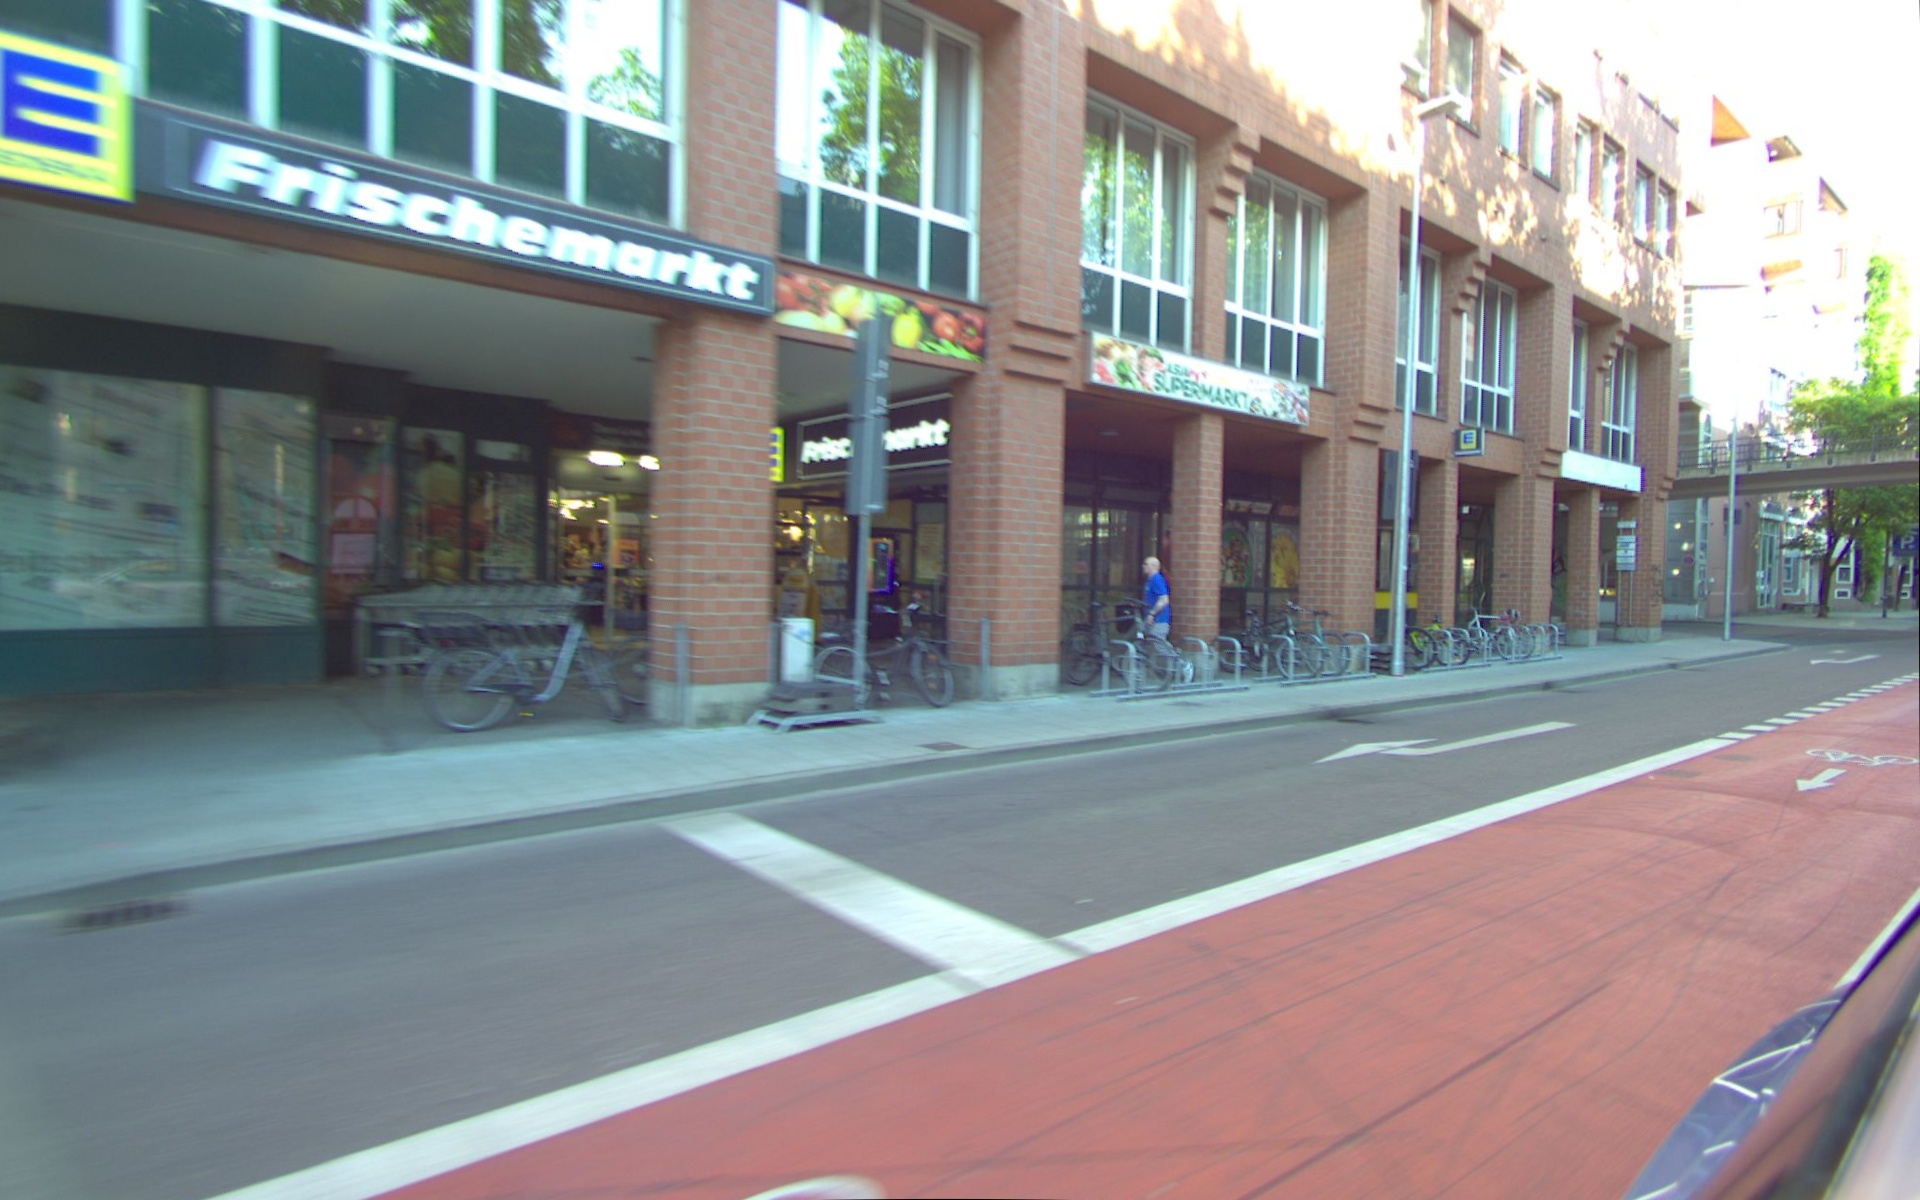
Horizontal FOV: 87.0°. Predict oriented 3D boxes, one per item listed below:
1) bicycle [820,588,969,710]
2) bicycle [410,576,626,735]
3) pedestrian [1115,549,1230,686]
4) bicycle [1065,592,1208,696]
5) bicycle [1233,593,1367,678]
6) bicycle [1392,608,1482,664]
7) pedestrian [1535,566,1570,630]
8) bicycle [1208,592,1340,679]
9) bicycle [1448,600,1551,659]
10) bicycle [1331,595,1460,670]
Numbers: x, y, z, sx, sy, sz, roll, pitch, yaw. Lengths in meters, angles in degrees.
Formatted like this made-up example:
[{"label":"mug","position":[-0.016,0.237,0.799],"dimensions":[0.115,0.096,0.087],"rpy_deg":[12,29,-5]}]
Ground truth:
[{"label":"bicycle","position":[-0.659,0.482,10.646],"dimensions":[1.647,1.198,0.340],"rpy_deg":[0,2,-38]},{"label":"bicycle","position":[-3.785,0.438,8.764],"dimensions":[1.679,1.271,0.340],"rpy_deg":[0,2,-38]},{"label":"pedestrian","position":[2.833,0.194,13.570],"dimensions":[0.868,1.717,1.200],"rpy_deg":[0,3,-33]},{"label":"bicycle","position":[2.142,0.498,12.551],"dimensions":[0.466,1.133,1.896],"rpy_deg":[0,2,-39]},{"label":"bicycle","position":[5.055,0.491,15.181],"dimensions":[0.540,1.133,1.896],"rpy_deg":[0,3,-39]},{"label":"bicycle","position":[8.351,0.614,17.762],"dimensions":[0.417,0.851,1.338],"rpy_deg":[0,4,-37]},{"label":"pedestrian","position":[15.652,-0.053,26.718],"dimensions":[0.764,1.653,0.570],"rpy_deg":[0,1,-40]},{"label":"bicycle","position":[4.559,0.479,14.819],"dimensions":[0.466,1.133,1.896],"rpy_deg":[0,3,-39]},{"label":"bicycle","position":[10.340,0.540,19.438],"dimensions":[0.545,0.966,1.617],"rpy_deg":[0,4,-37]},{"label":"bicycle","position":[7.263,0.509,16.962],"dimensions":[0.562,1.069,1.940],"rpy_deg":[0,4,-35]}]
